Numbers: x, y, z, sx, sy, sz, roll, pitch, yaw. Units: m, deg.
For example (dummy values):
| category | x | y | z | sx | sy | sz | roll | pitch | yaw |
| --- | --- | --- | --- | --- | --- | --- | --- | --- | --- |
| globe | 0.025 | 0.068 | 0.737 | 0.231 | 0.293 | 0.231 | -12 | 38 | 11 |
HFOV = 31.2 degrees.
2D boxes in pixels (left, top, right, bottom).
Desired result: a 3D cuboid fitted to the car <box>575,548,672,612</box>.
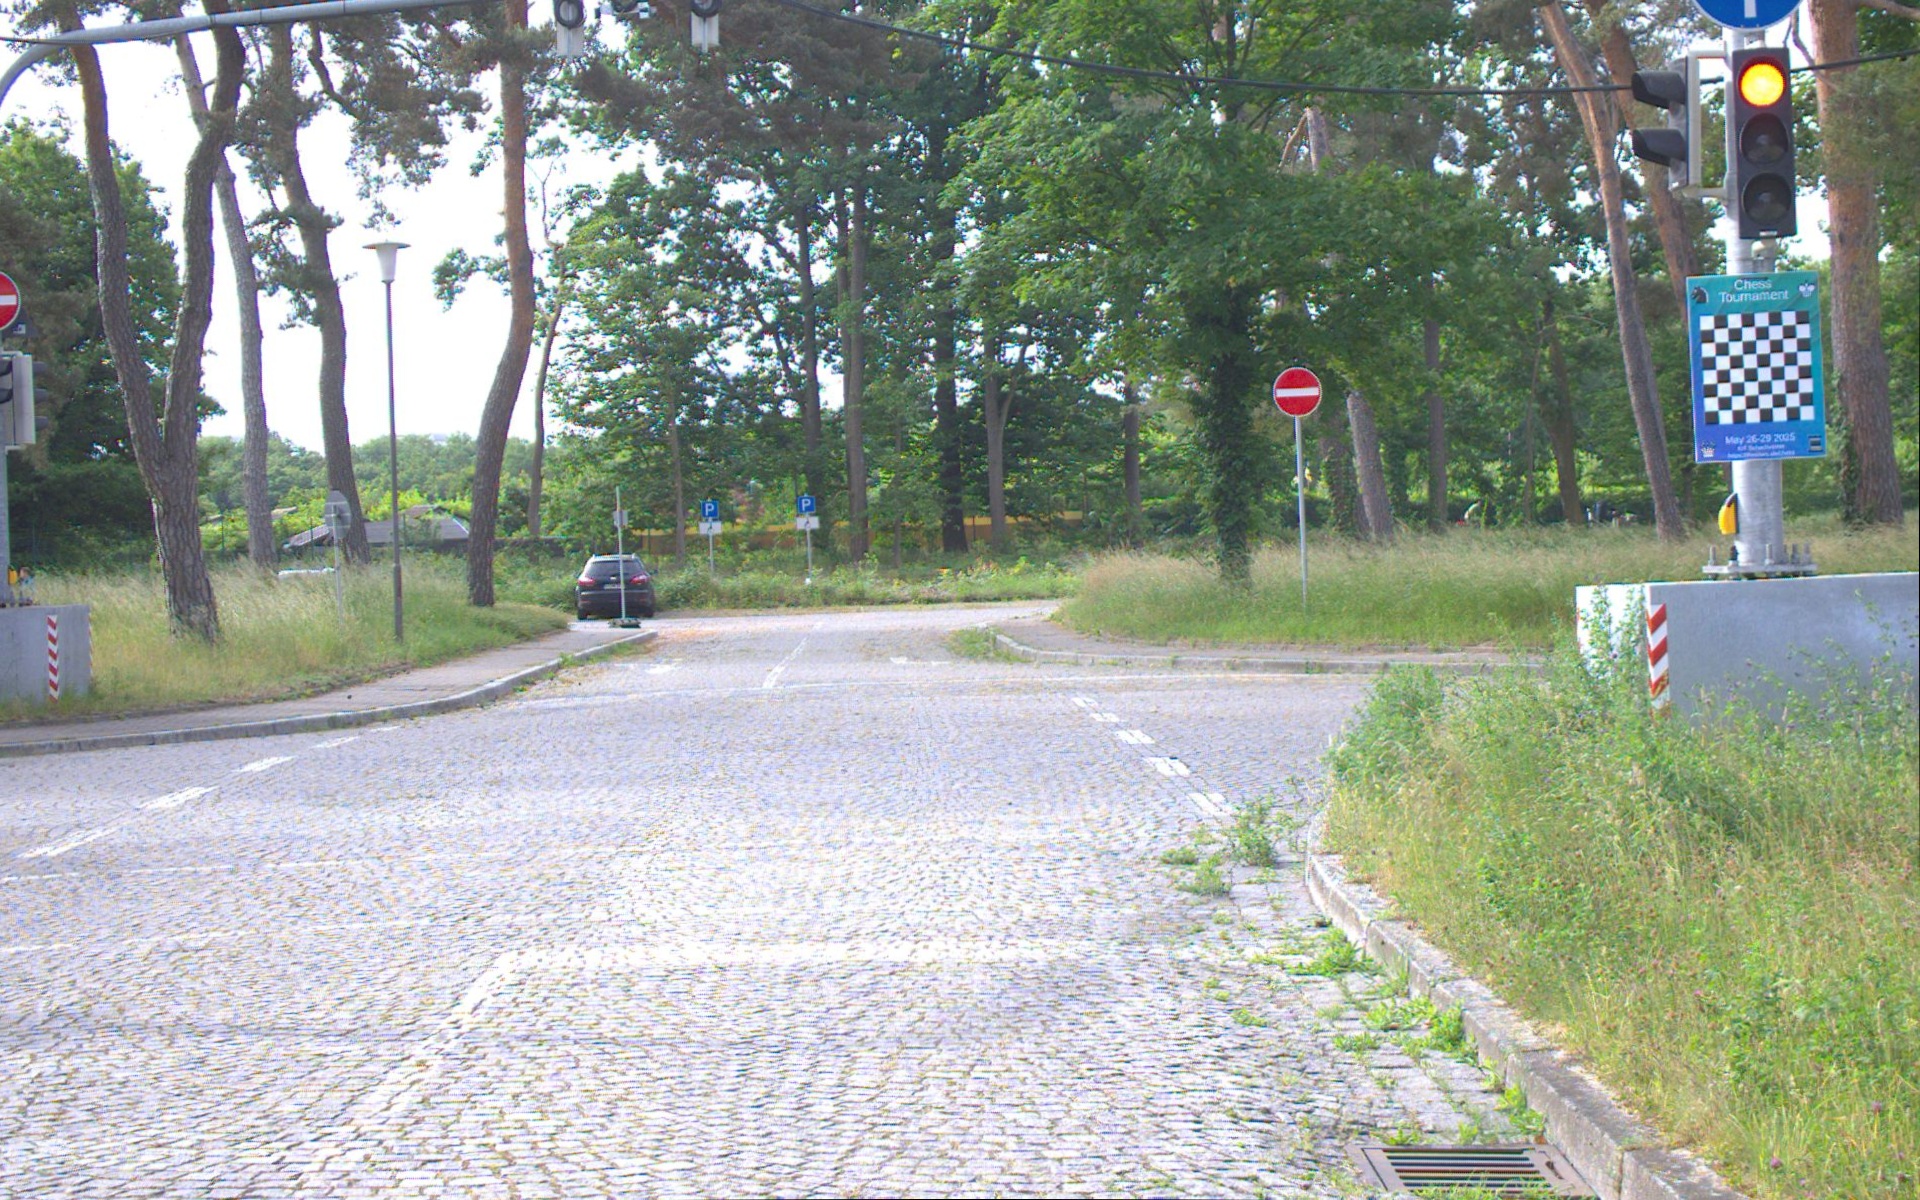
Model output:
| category | x | y | z | sx | sy | sz | roll | pitch | yaw |
| --- | --- | --- | --- | --- | --- | --- | --- | --- | --- |
| car | -8.132 | -0.502 | 83.368 | 1.993 | 1.503 | 4.000 | 0 | 1 | 0 |
